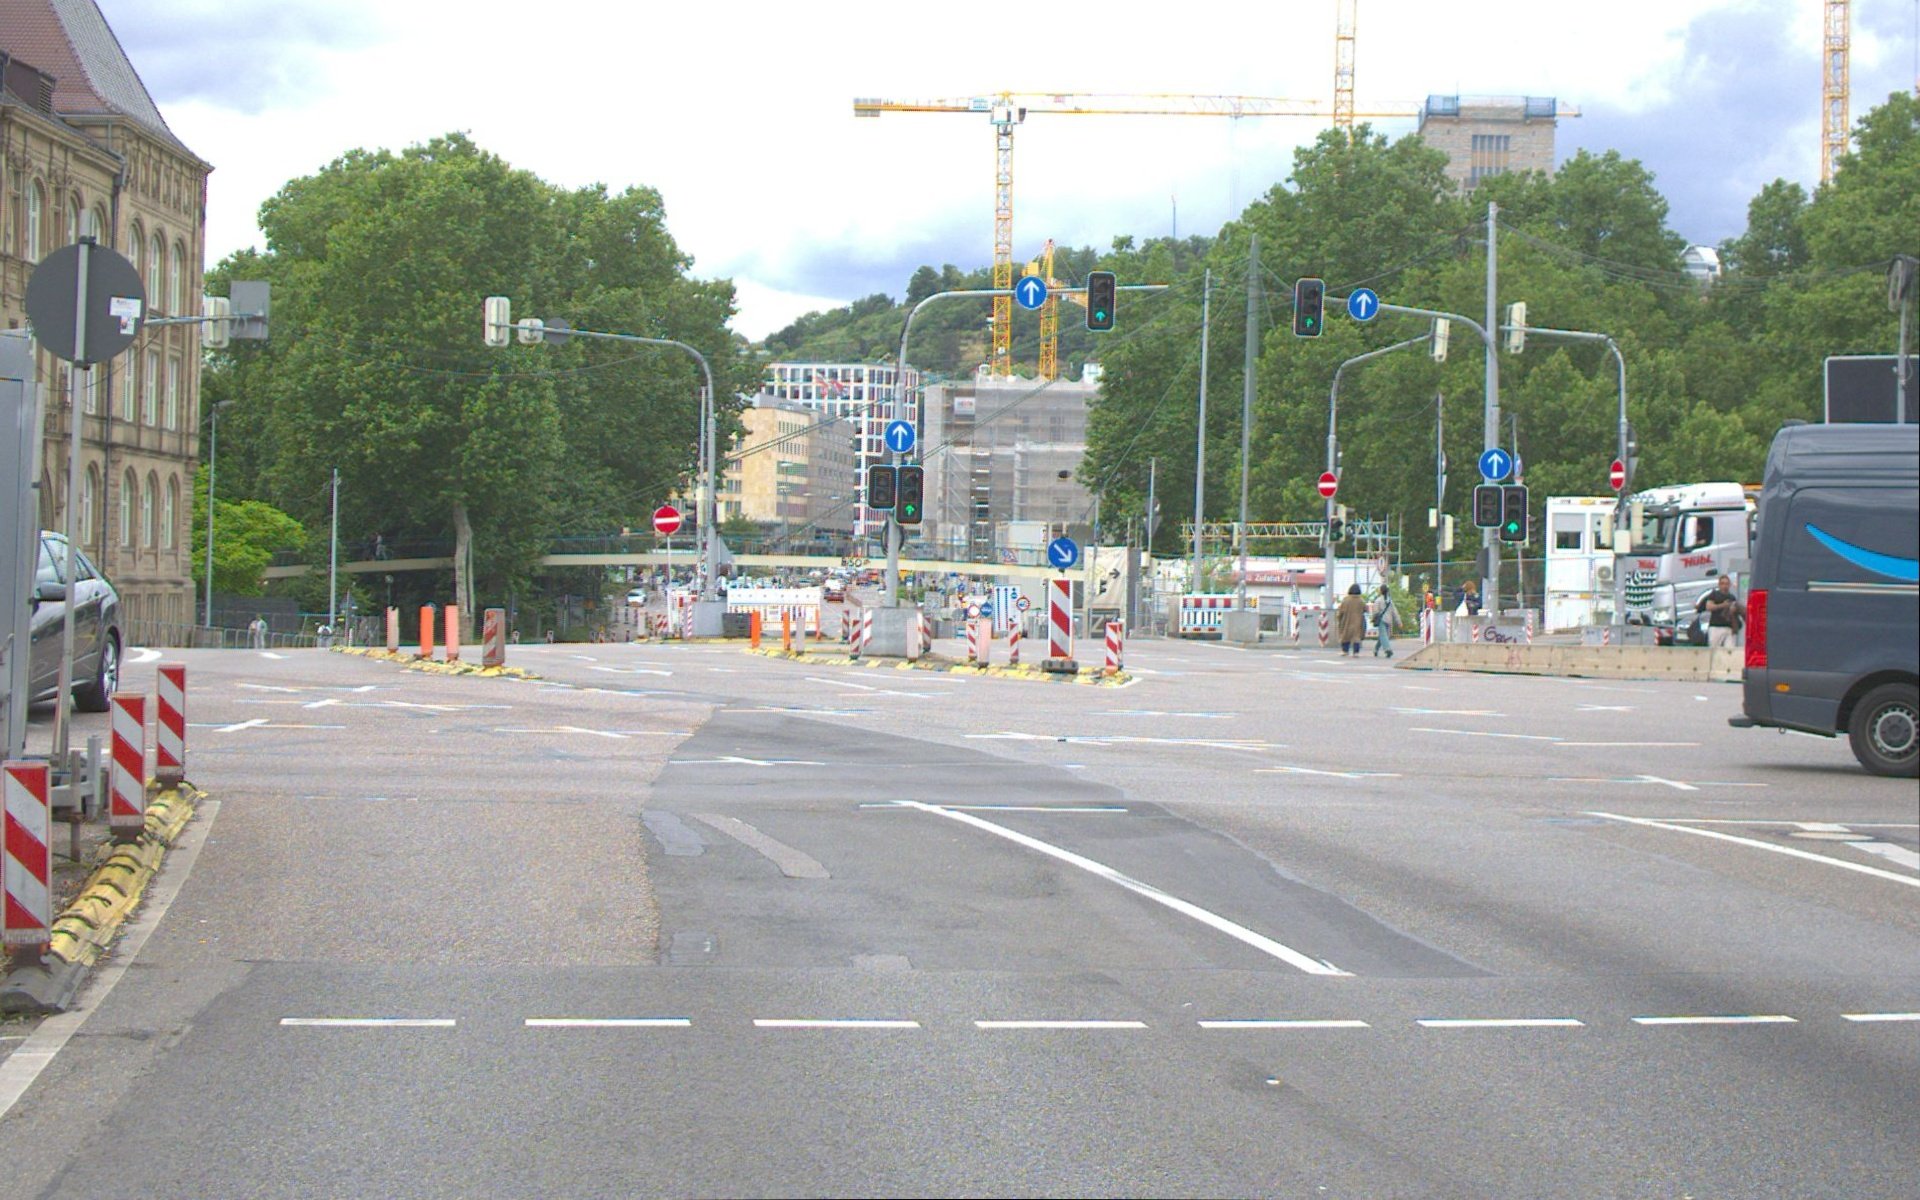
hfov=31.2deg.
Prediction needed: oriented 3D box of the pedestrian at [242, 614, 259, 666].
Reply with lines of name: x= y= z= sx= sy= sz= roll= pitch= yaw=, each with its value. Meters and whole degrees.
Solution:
pedestrian: x=-28.056 y=1.579 z=136.032 sx=0.524 sy=2.007 sz=0.567 roll=1 pitch=1 yaw=0

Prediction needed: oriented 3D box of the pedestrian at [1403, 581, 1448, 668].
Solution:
pedestrian: x=9.138 y=0.473 z=67.535 sx=0.729 sy=1.683 sz=0.678 roll=1 pitch=1 yaw=-1

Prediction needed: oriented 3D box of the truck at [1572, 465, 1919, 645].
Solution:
truck: x=21.365 y=-1.009 z=82.009 sx=13.022 sy=4.027 sz=3.952 roll=1 pitch=1 yaw=-20

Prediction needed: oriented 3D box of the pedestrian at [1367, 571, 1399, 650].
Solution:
pedestrian: x=9.139 y=0.231 z=74.289 sx=0.566 sy=1.683 sz=0.472 roll=1 pitch=1 yaw=-1

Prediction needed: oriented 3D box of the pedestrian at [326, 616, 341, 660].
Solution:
pedestrian: x=-28.911 y=1.766 z=158.663 sx=0.524 sy=2.007 sz=0.567 roll=1 pitch=1 yaw=0

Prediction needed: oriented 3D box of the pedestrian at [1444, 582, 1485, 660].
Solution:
pedestrian: x=11.052 y=0.457 z=75.319 sx=0.622 sy=1.683 sz=0.710 roll=2 pitch=1 yaw=29

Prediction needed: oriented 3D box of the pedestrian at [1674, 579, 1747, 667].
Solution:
pedestrian: x=12.139 y=0.365 z=55.628 sx=0.796 sy=1.373 sz=0.905 roll=1 pitch=1 yaw=-14

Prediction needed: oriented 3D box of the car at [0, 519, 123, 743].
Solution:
car: x=-7.413 y=0.151 z=25.280 sx=1.706 sy=1.508 sz=4.289 roll=1 pitch=1 yaw=-4

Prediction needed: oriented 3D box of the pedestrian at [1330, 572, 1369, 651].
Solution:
pedestrian: x=8.414 y=0.246 z=74.272 sx=0.729 sy=1.683 sz=0.678 roll=1 pitch=1 yaw=-1

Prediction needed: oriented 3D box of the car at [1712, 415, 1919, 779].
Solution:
car: x=8.672 y=0.021 z=24.646 sx=6.004 sy=2.585 sz=2.060 roll=2 pitch=1 yaw=30
